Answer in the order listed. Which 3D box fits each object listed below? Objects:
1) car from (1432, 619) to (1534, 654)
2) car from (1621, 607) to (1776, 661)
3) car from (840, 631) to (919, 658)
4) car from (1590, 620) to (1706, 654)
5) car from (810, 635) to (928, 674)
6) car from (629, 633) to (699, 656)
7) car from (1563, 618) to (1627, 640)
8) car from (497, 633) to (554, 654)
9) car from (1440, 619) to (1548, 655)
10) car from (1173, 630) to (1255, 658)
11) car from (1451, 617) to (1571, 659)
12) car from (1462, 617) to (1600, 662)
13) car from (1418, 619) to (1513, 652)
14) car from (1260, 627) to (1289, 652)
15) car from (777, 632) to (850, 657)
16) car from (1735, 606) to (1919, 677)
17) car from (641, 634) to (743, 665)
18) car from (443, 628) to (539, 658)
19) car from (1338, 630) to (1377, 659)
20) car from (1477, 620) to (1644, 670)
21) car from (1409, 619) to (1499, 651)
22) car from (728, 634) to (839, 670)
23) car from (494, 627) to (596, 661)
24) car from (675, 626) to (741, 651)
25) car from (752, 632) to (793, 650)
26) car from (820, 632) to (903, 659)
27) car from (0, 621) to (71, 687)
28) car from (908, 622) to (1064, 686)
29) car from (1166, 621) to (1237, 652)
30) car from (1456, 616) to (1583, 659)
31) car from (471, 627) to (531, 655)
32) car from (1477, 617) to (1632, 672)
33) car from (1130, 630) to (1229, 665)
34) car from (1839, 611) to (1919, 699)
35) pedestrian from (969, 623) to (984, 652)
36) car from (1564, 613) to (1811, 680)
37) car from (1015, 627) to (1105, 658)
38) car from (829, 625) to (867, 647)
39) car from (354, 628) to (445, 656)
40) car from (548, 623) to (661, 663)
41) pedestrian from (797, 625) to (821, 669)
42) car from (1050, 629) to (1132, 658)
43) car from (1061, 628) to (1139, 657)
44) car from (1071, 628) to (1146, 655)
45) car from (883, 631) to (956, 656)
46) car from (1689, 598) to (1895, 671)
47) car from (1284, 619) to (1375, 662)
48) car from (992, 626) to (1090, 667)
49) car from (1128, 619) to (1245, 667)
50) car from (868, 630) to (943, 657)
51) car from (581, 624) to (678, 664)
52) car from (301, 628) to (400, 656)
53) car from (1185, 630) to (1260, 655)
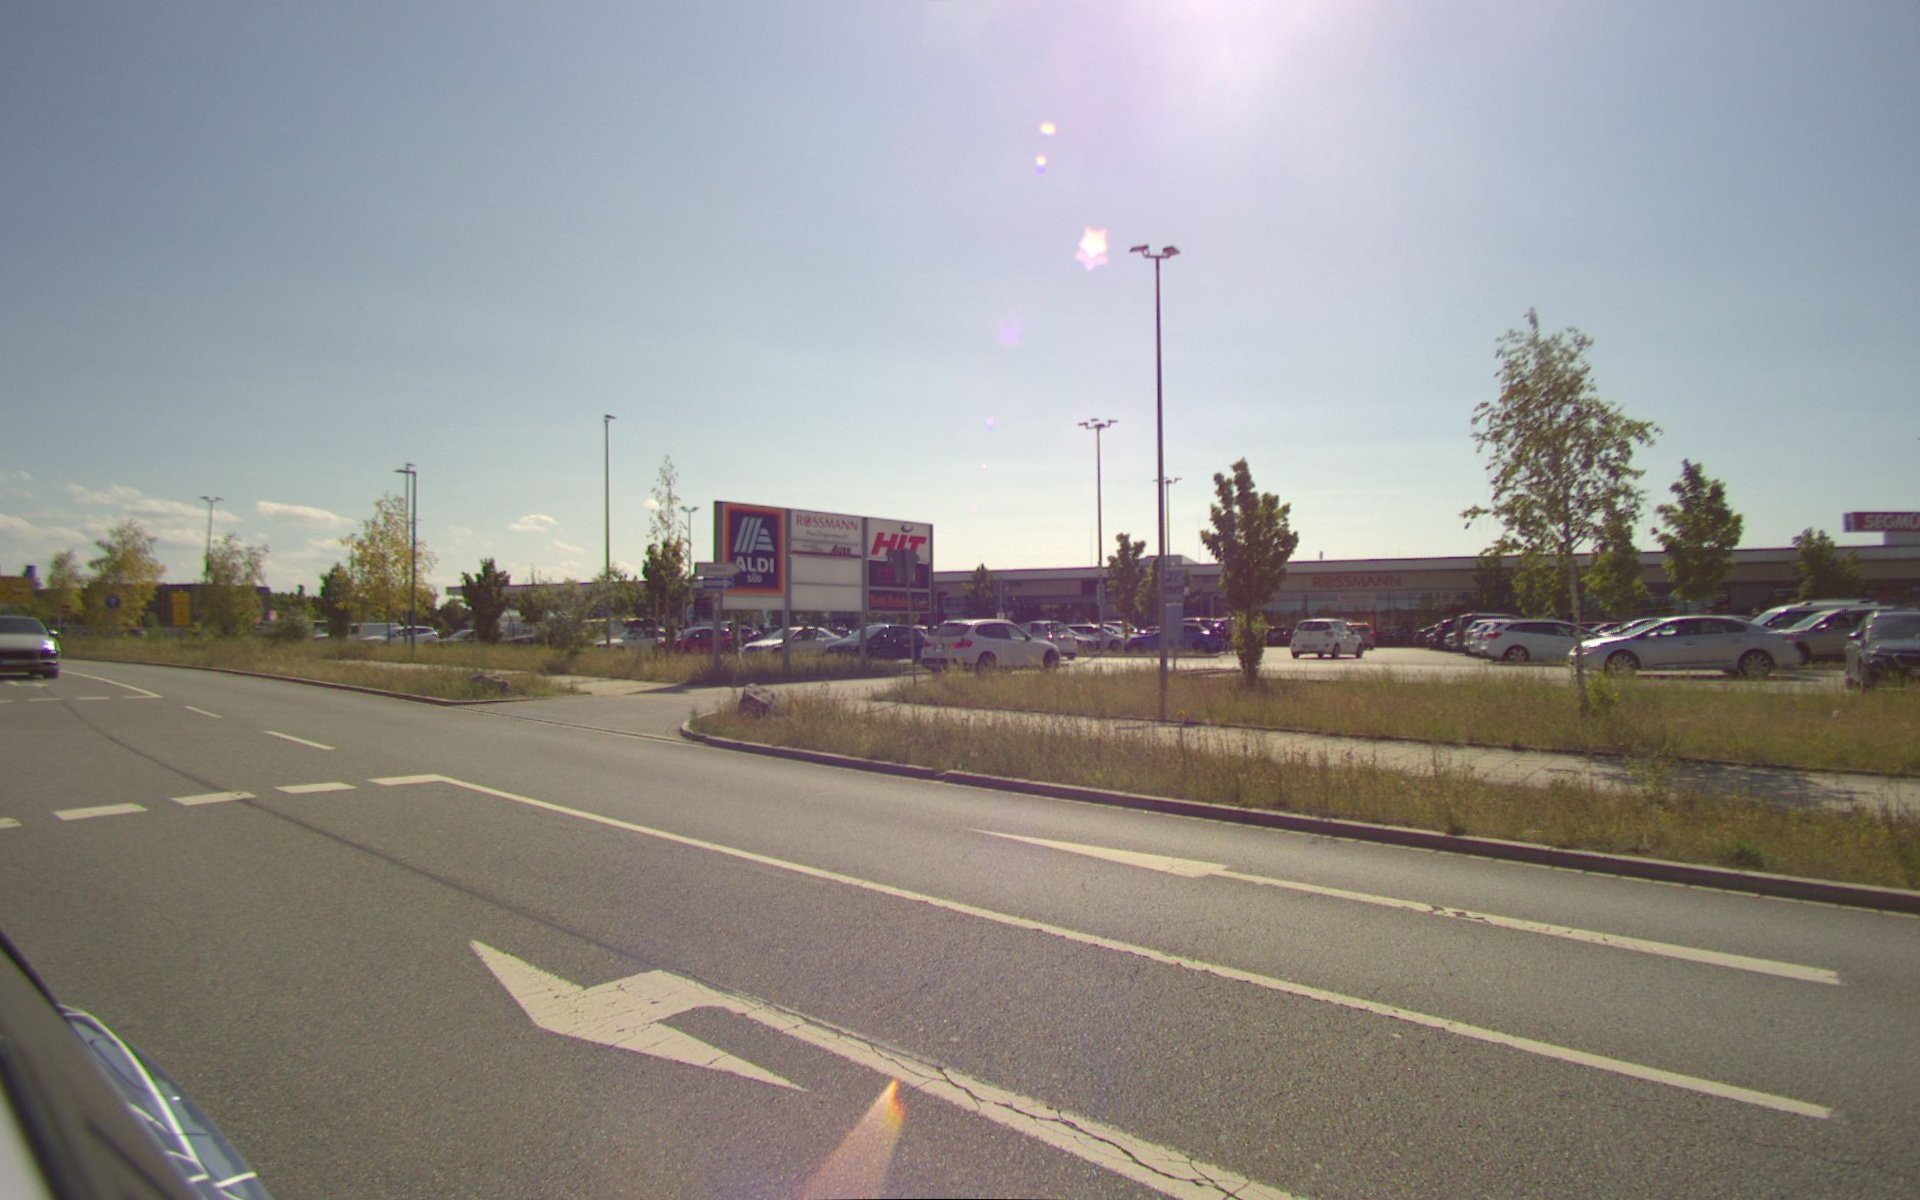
[{"bbox_3d":[26.907,1.864,52.210,4.345,1.731,1.906,-1,-2,18],"label":"car"},{"bbox_3d":[29.199,1.346,40.204,4.602,2.040,1.824,-1,-2,22],"label":"car"},{"bbox_3d":[-4.674,2.580,58.676,4.323,1.561,1.705,-1,-2,21],"label":"car"},{"bbox_3d":[33.626,1.801,49.602,4.352,1.604,1.824,-1,-2,22],"label":"car"},{"bbox_3d":[-3.273,1.961,37.003,1.935,1.358,4.100,-2,-3,41],"label":"car"},{"bbox_3d":[-19.792,2.960,67.621,4.321,1.538,1.706,-1,-2,20],"label":"car"},{"bbox_3d":[55.119,2.523,87.923,4.352,1.804,1.903,-1,-2,22],"label":"car"},{"bbox_3d":[-33.967,3.408,79.131,1.831,1.564,3.970,-1,-2,22],"label":"car"},{"bbox_3d":[26.157,1.796,49.720,4.345,1.738,1.906,-1,-2,18],"label":"car"},{"bbox_3d":[14.385,2.484,57.265,4.323,1.548,1.705,-1,-2,21],"label":"car"},{"bbox_3d":[24.312,1.676,44.817,4.345,1.807,1.906,-1,-2,18],"label":"car"},{"bbox_3d":[22.674,1.560,40.343,4.336,1.731,1.910,0,-2,12],"label":"car"},{"bbox_3d":[27.562,1.934,55.292,4.345,1.752,1.906,-1,-2,18],"label":"car"},{"bbox_3d":[22.218,2.789,71.467,1.705,1.646,4.324,-1,-2,21],"label":"car"},{"bbox_3d":[-9.232,2.799,63.844,4.327,1.538,1.704,-1,-3,23],"label":"car"},{"bbox_3d":[24.056,1.124,27.521,4.352,1.837,1.824,-1,-2,22],"label":"car"},{"bbox_3d":[-12.159,2.237,46.076,1.935,1.358,4.100,-2,-3,41],"label":"car"},{"bbox_3d":[-27.181,2.486,58.784,1.995,1.685,4.661,-2,-3,35],"label":"car"},{"bbox_3d":[21.938,2.431,55.949,1.826,1.559,3.975,-1,-2,19],"label":"car"},{"bbox_3d":[19.185,1.413,32.555,4.352,1.523,1.824,-1,-2,22],"label":"car"},{"bbox_3d":[28.192,1.990,57.854,4.345,1.774,1.906,-1,-2,18],"label":"car"},{"bbox_3d":[-7.007,2.070,40.518,1.935,1.358,4.100,-2,-3,41],"label":"car"},{"bbox_3d":[-21.851,2.310,53.484,1.878,1.685,4.726,-2,-3,35],"label":"car"},{"bbox_3d":[-18.176,2.795,72.890,4.555,1.754,1.703,-1,-3,24],"label":"car"},{"bbox_3d":[-15.905,3.501,86.059,1.702,1.536,4.332,-1,-2,16],"label":"car"},{"bbox_3d":[-5.513,2.523,56.407,4.323,1.428,1.705,-1,-2,21],"label":"car"},{"bbox_3d":[-25.782,1.476,27.247,4.773,1.656,2.087,-4,-3,40],"label":"car"},{"bbox_3d":[0.769,1.381,26.862,1.917,1.559,4.167,-2,-2,42],"label":"car"},{"bbox_3d":[15.660,2.389,65.594,4.323,1.974,1.705,-1,-3,21],"label":"car"},{"bbox_3d":[23.575,1.567,42.800,4.343,1.739,1.907,0,-2,17],"label":"car"},{"bbox_3d":[-44.141,3.975,97.443,1.925,2.608,5.683,-1,-2,19],"label":"car"},{"bbox_3d":[20.460,1.511,35.077,4.352,1.817,1.903,-1,-2,22],"label":"car"},{"bbox_3d":[10.223,2.201,47.107,4.323,1.593,1.705,-1,-2,21],"label":"car"},{"bbox_3d":[17.635,0.964,18.558,1.834,1.469,4.535,-1,-2,36],"label":"car"},{"bbox_3d":[1.033,2.349,63.572,0.776,1.838,0.566,-1,-2,22],"label":"pedestrian"},{"bbox_3d":[17.625,1.105,24.831,4.593,1.523,1.823,-1,-2,24],"label":"car"},{"bbox_3d":[5.140,2.176,52.084,4.323,1.573,1.705,-1,-2,21],"label":"car"},{"bbox_3d":[-9.373,3.038,85.257,1.702,1.821,4.332,-1,-2,16],"label":"car"},{"bbox_3d":[-34.454,2.569,62.326,1.994,1.685,4.552,-2,-3,33],"label":"car"},{"bbox_3d":[-18.773,2.282,53.725,1.994,1.980,5.635,-2,-3,33],"label":"car"},{"bbox_3d":[-5.936,1.859,39.852,0.578,1.708,0.756,-2,-3,42],"label":"pedestrian"},{"bbox_3d":[7.341,2.449,56.867,4.323,1.556,1.705,-1,-2,21],"label":"car"},{"bbox_3d":[8.266,2.510,59.643,4.323,1.628,1.705,-1,-2,21],"label":"car"},{"bbox_3d":[9.167,2.550,62.485,4.323,1.614,1.705,-1,-2,21],"label":"car"},{"bbox_3d":[-2.574,2.750,64.003,4.323,1.544,1.705,-1,-2,21],"label":"car"},{"bbox_3d":[24.766,1.025,30.328,4.352,2.080,1.824,-1,-2,22],"label":"car"},{"bbox_3d":[14.067,1.514,38.458,1.917,1.559,3.944,-2,-2,42],"label":"car"},{"bbox_3d":[3.153,1.804,40.122,1.885,1.559,4.012,1,-2,-31],"label":"car"},{"bbox_3d":[9.919,1.878,44.378,4.799,2.001,1.705,-1,-3,21],"label":"car"},{"bbox_3d":[-3.322,2.649,61.662,4.323,1.584,1.705,-1,-2,21],"label":"car"},{"bbox_3d":[-16.001,2.125,49.113,1.930,1.875,4.102,-2,-3,39],"label":"car"},{"bbox_3d":[-38.904,2.675,64.774,1.991,1.685,5.148,-1,-3,28],"label":"car"},{"bbox_3d":[16.197,2.616,62.414,4.323,1.548,1.705,-1,-2,21],"label":"car"}]
